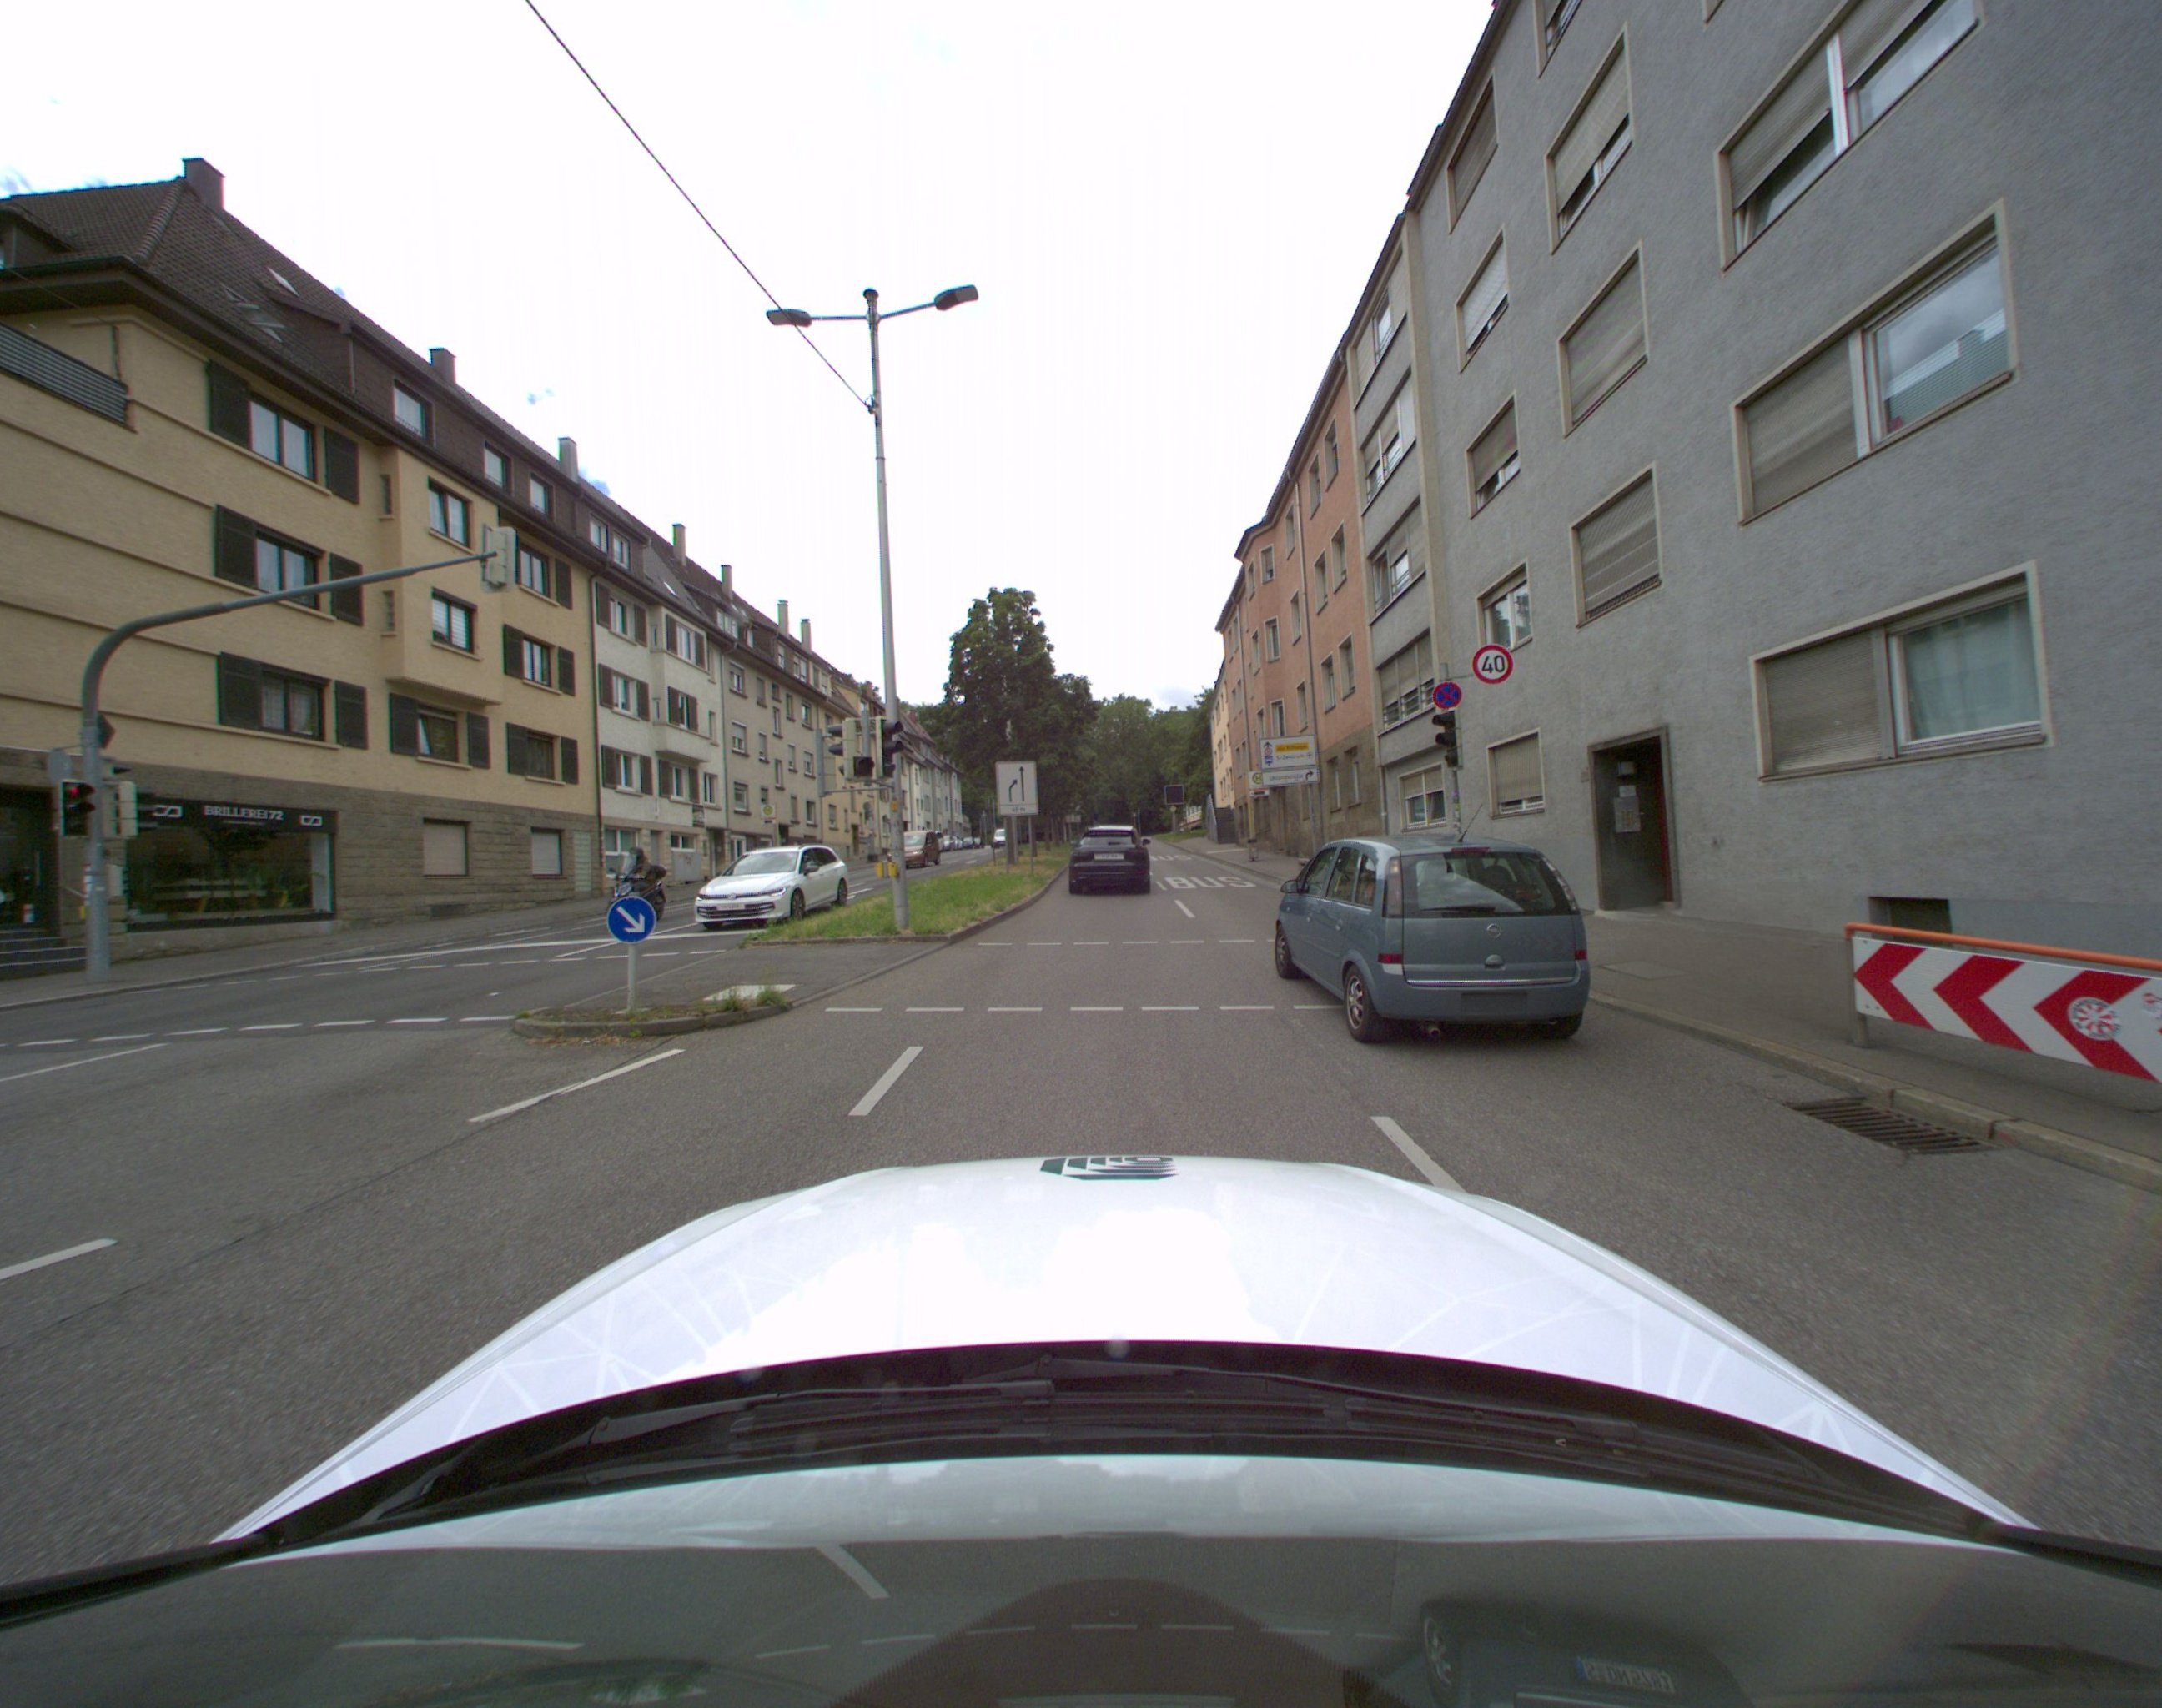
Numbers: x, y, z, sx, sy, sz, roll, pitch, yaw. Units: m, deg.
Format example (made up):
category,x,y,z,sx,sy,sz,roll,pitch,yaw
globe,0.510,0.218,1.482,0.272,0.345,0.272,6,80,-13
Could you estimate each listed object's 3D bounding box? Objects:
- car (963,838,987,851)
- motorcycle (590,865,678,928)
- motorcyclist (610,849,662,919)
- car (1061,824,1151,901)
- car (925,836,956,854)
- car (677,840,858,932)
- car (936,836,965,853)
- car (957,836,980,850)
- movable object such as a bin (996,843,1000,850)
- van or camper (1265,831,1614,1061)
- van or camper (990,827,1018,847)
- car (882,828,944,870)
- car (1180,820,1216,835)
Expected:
category,x,y,z,sx,sy,sz,roll,pitch,yaw
car,-12.444,-1.116,96.059,1.986,1.400,4.521,-3,1,2
motorcycle,-9.617,0.884,17.626,0.542,1.184,2.207,-2,1,3
motorcyclist,-9.660,0.640,17.686,0.670,1.475,0.663,-2,1,3
car,0.692,0.156,20.916,1.985,1.653,4.004,-4,1,3
car,-13.053,-0.880,75.995,1.987,1.552,4.383,-3,1,1
car,-6.141,0.533,16.608,1.739,1.467,4.587,-3,2,1
car,-12.986,-0.962,81.458,1.986,1.474,4.161,-3,1,2
car,-12.464,-1.209,90.687,1.988,1.423,4.209,-3,1,-2
movable object such as a bin,-11.547,-1.092,112.829,0.516,0.967,0.442,0,-1,-14
van or camper,2.941,0.601,7.566,1.729,1.577,3.648,-1,2,1
van or camper,-7.136,-1.602,75.524,1.900,1.761,4.658,-2,2,2
car,-8.214,-0.321,40.156,1.872,1.815,4.356,-2,3,3
car,13.463,-3.042,93.855,4.024,1.417,1.975,-5,2,-44
